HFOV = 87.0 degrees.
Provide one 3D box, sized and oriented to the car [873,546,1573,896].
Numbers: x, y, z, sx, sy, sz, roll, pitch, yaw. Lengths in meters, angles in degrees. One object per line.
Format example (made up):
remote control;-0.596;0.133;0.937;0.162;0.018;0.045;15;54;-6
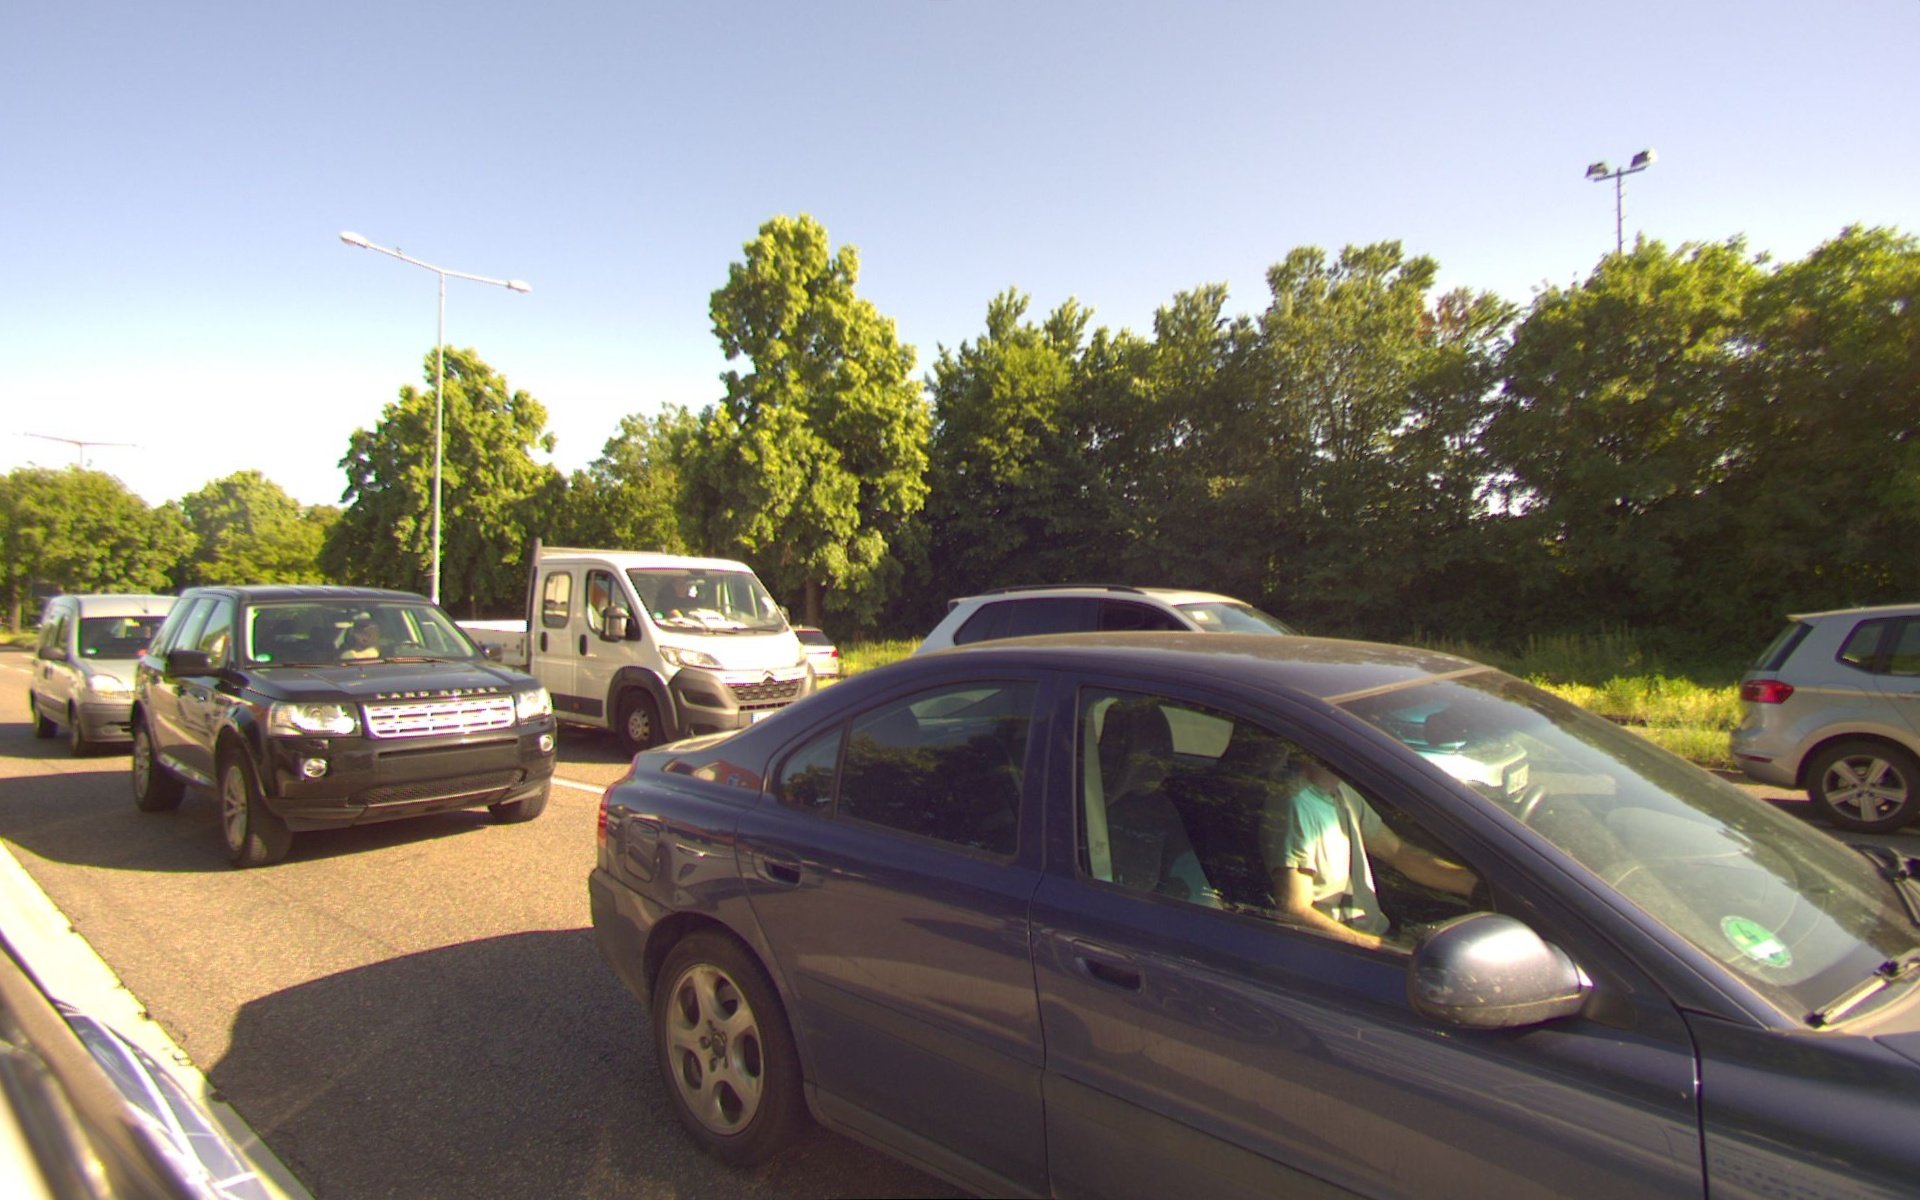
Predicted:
car;1.625;0.671;7.214;4.422;1.723;1.973;-2;-3;41

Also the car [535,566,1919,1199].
car;0.895;0.696;2.423;4.454;1.463;1.757;-1;0;41

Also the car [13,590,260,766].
car;-10.049;0.801;12.220;4.384;1.765;1.611;-1;-1;41

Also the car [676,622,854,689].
car;-4.710;1.276;24.074;4.613;1.444;1.668;-2;-3;41

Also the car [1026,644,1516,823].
car;3.034;1.194;10.539;4.550;1.440;1.811;-2;-3;41

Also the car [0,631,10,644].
car;-136.331;5.314;143.586;3.998;1.697;1.854;-2;-3;41

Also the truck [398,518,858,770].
truck;-4.401;0.442;12.448;6.838;2.337;2.158;-1;-1;40

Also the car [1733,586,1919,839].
car;7.634;0.722;6.411;4.206;1.623;1.810;-2;-3;42

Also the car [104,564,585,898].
car;-4.692;0.707;7.418;4.384;1.744;1.793;-1;-1;41
